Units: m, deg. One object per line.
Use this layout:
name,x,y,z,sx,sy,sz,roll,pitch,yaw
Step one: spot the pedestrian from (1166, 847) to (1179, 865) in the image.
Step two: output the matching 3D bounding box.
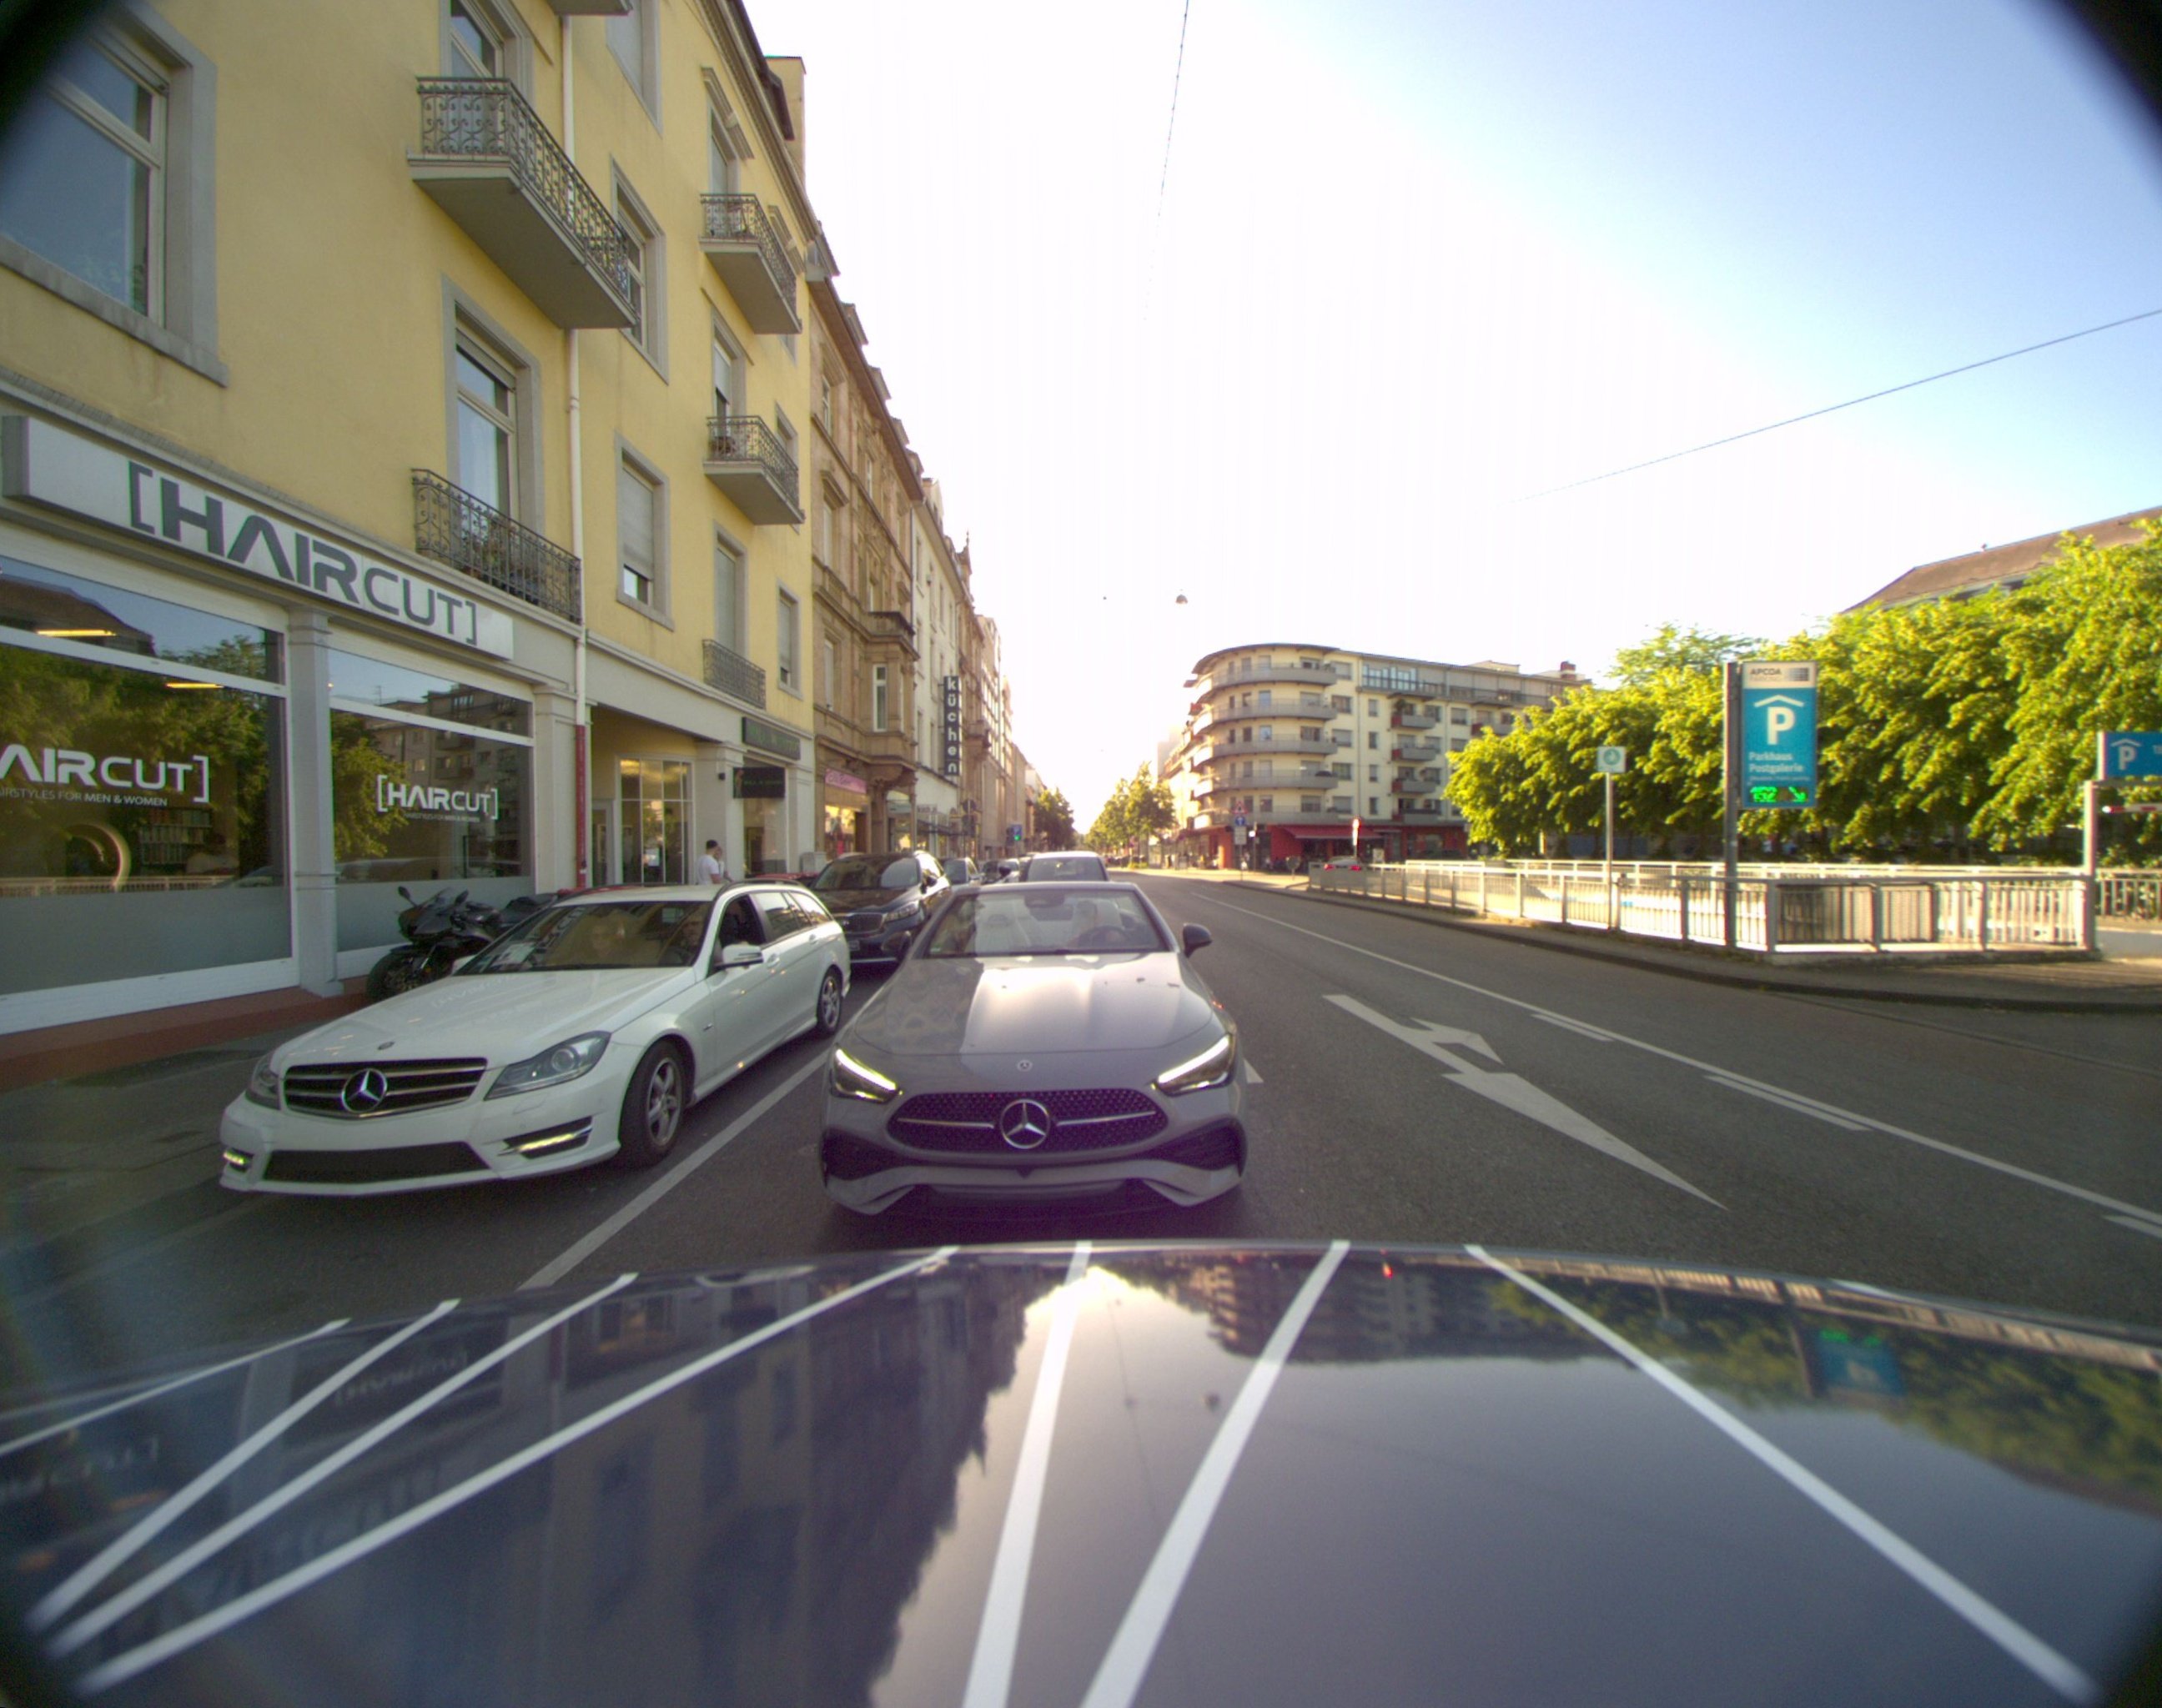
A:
pedestrian,8.967,0.227,74.237,1.069,1.709,1.080,-2,1,-2

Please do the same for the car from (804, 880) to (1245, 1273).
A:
car,-0.281,0.992,5.384,1.769,1.360,4.471,-2,1,-2

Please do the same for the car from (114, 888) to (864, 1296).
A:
car,-3.026,1.068,5.273,1.672,1.364,4.377,-2,1,1

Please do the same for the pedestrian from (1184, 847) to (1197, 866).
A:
pedestrian,10.272,0.245,71.453,1.060,1.739,0.962,-2,1,1

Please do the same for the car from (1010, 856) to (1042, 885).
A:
car,-2.943,0.862,40.976,1.461,1.391,3.363,-2,1,-1

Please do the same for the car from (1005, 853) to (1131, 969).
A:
car,-0.256,0.872,13.954,1.866,1.658,4.706,-2,1,-2

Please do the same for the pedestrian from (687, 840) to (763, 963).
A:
pedestrian,-5.686,0.726,12.152,0.975,1.866,0.534,-3,1,-31

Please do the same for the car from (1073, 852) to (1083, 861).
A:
car,-0.530,0.399,129.962,1.695,1.437,3.575,-2,1,-2

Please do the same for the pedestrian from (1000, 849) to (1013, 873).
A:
pedestrian,-5.588,0.526,57.342,0.826,1.750,0.823,-2,1,-1

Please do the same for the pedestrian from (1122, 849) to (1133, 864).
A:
pedestrian,5.846,0.275,94.943,1.221,1.826,1.203,-2,1,5

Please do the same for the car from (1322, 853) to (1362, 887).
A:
car,12.923,0.797,37.592,1.673,1.521,4.256,-3,-2,19

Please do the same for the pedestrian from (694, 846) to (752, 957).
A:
pedestrian,-6.149,0.790,13.086,0.630,1.826,0.770,-2,1,-7

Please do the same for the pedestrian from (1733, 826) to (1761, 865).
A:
pedestrian,32.232,-0.400,36.763,0.748,1.852,0.683,-2,1,-13

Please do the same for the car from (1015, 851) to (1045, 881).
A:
car,-3.154,0.712,47.574,1.695,1.670,3.880,-2,1,-3

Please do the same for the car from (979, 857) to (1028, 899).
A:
car,-3.027,0.898,30.338,1.695,1.482,3.796,-2,1,-3

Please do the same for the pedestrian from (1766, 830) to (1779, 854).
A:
pedestrian,46.211,-0.812,50.785,0.494,1.570,0.493,-3,1,-24

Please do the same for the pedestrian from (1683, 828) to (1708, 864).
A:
pedestrian,31.925,-0.433,39.460,0.748,1.832,0.683,-3,1,-21

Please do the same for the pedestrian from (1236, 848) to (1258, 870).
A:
pedestrian,13.150,0.388,60.256,1.142,1.656,1.269,-3,1,-43

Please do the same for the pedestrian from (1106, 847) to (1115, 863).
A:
pedestrian,4.355,0.142,112.282,1.117,2.328,1.029,-2,1,1

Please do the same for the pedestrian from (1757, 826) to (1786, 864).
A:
pedestrian,33.372,-0.434,36.731,0.748,1.832,0.683,-2,1,-13

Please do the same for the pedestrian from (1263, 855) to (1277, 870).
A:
pedestrian,14.921,0.659,60.065,0.780,1.191,0.884,-2,1,-10

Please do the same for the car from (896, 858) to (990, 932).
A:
car,-3.182,0.901,18.015,1.583,1.514,2.998,-2,1,1

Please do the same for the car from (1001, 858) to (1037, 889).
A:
car,-2.955,0.896,36.707,1.461,1.310,3.363,-2,1,-1

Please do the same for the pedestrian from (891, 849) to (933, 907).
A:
pedestrian,-5.100,0.717,22.985,0.835,1.709,0.821,-2,1,21

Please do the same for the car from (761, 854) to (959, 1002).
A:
car,-3.013,0.885,11.364,1.806,1.680,4.408,-2,1,-3

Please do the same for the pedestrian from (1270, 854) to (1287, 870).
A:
pedestrian,15.428,0.647,59.407,0.937,1.191,0.832,-3,1,-24

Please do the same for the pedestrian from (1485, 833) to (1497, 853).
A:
pedestrian,38.359,-1.007,71.061,0.747,1.832,0.684,-2,1,1

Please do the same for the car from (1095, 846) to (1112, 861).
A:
car,2.819,-0.023,96.292,1.836,1.831,3.886,1,1,-2

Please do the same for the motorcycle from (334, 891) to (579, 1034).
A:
motorcycle,-6.255,1.019,7.815,0.735,1.124,2.109,2,1,1
